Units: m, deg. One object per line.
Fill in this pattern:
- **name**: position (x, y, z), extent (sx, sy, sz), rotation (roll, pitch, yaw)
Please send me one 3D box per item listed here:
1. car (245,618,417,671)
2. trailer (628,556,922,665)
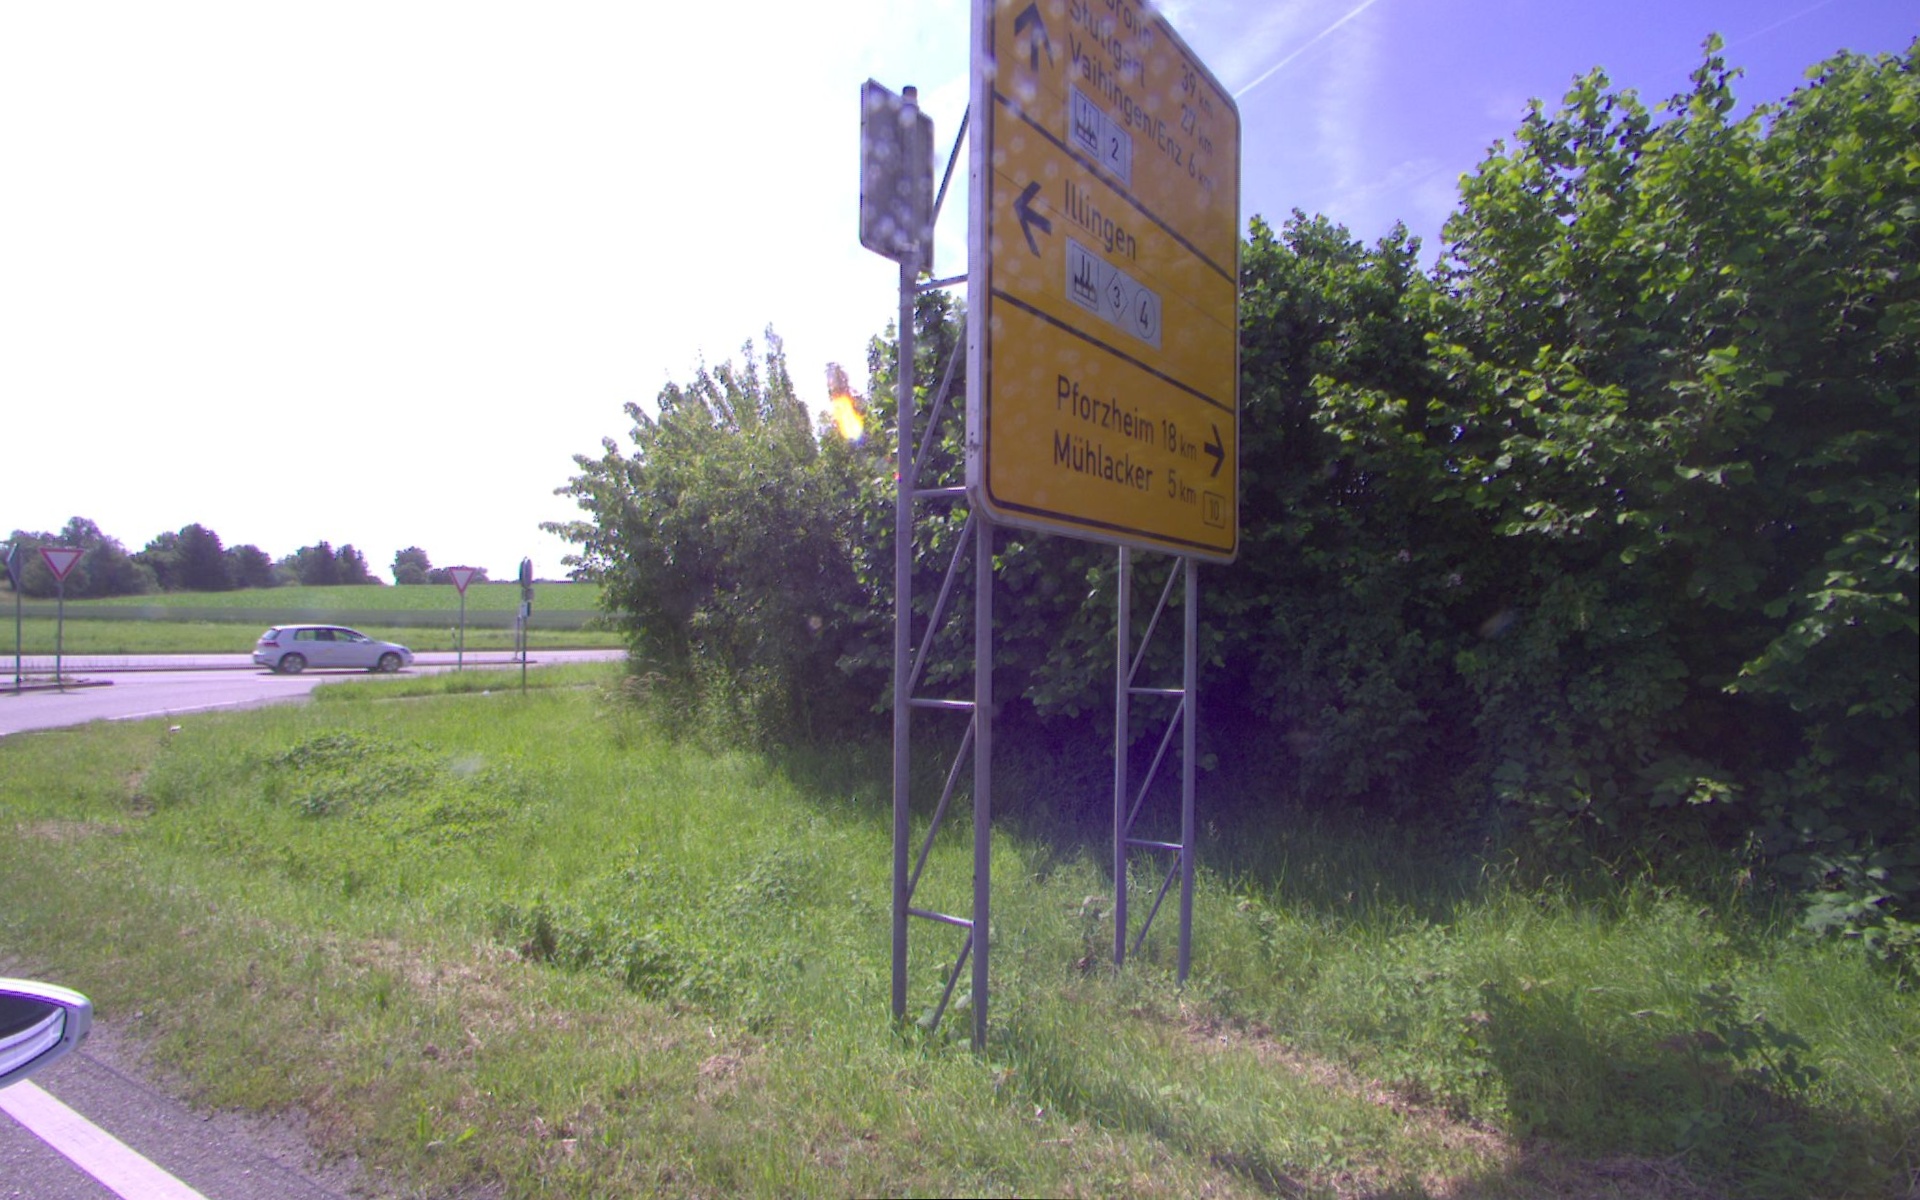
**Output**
- **car**: position (-19.479, 1.356, 31.127), extent (1.790, 1.480, 4.224), rotation (1, -1, 43)
- **trailer**: position (-7.499, 0.596, 43.798), extent (2.768, 4.114, 13.611), rotation (1, -1, 43)
